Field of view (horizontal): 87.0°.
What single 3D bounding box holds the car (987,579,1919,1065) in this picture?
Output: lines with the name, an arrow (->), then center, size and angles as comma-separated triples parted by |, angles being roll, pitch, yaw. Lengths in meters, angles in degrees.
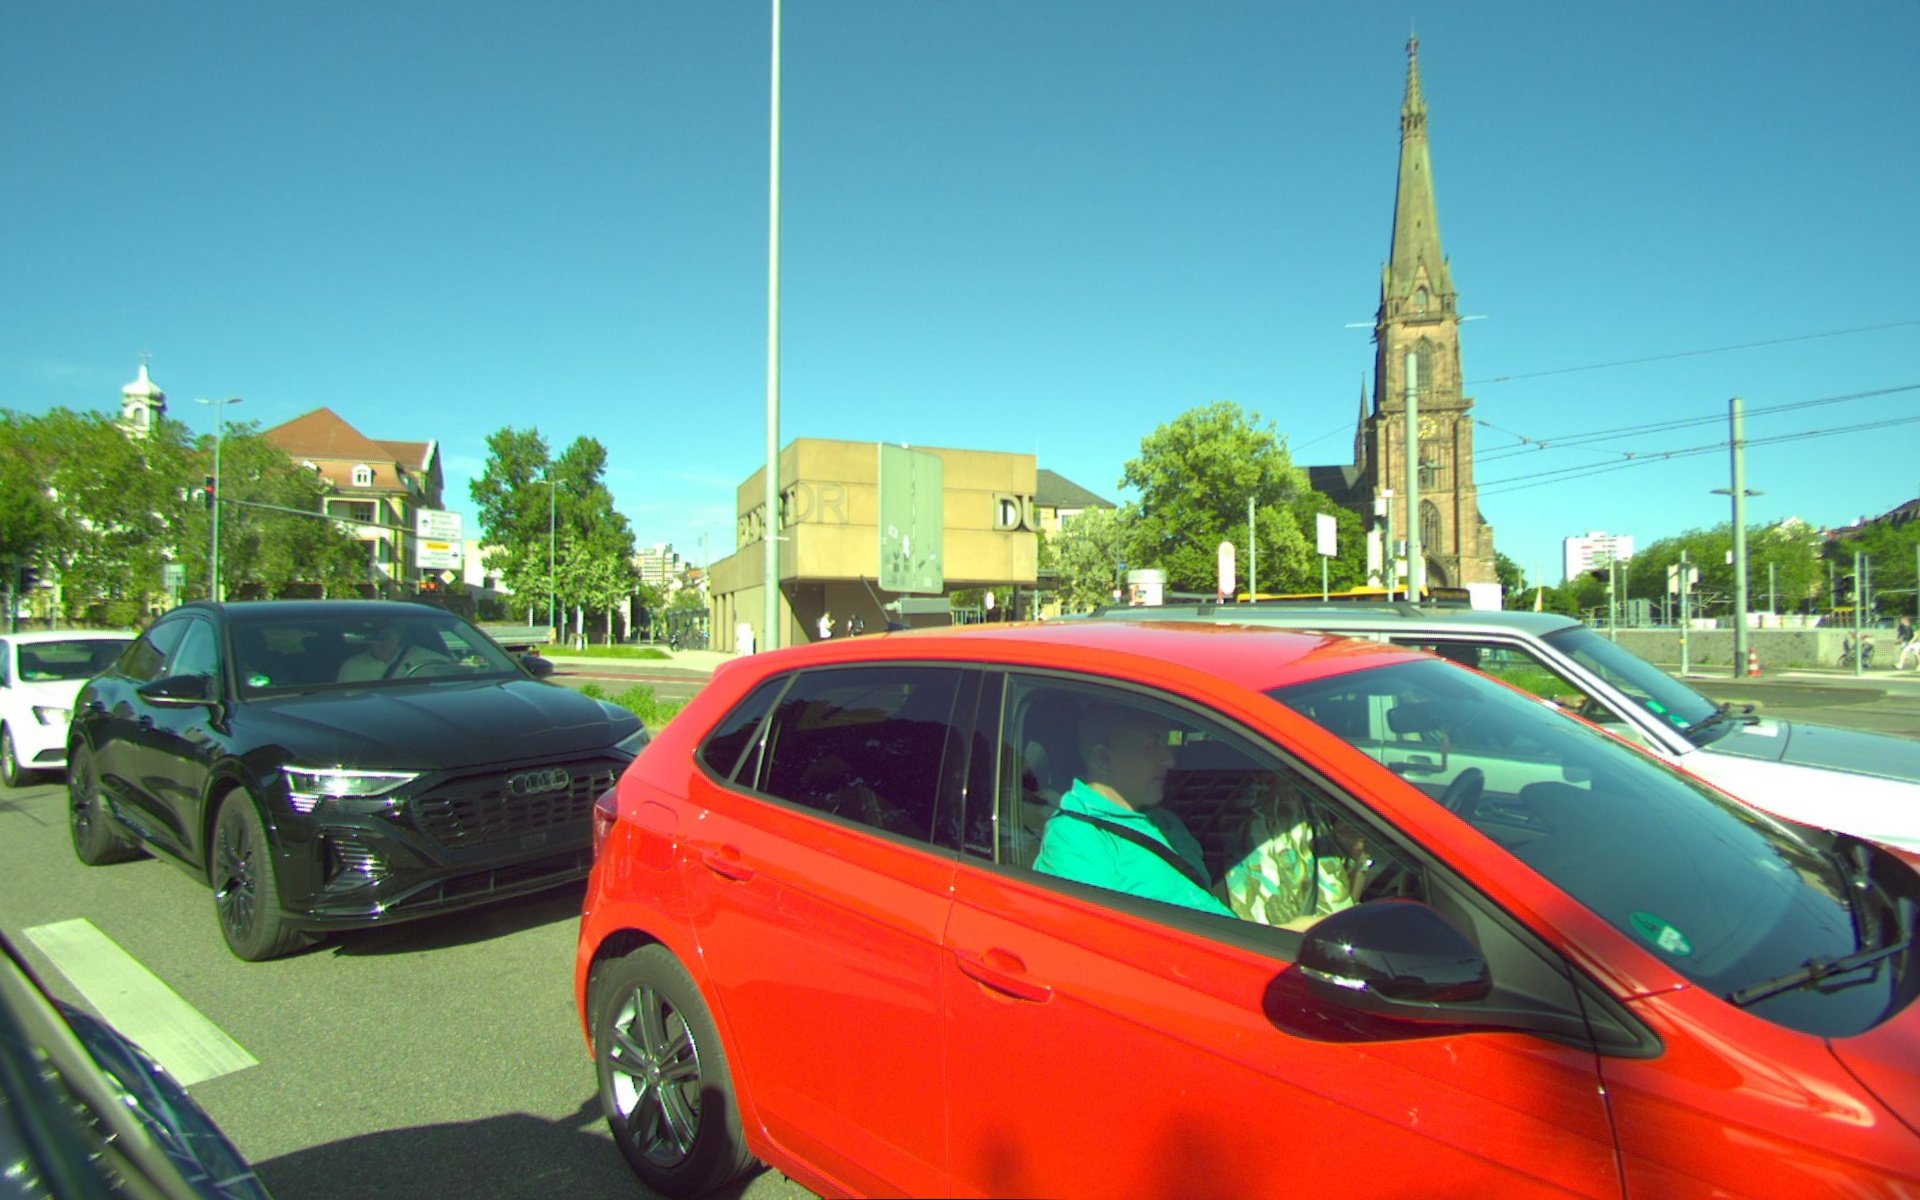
car -> 2.489, 0.714, 4.609 | 4.749, 1.484, 1.691 | -2, -2, 41

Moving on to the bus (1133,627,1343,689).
bus -> 6.090, 1.229, 22.390 | 4.176, 1.251, 1.626 | -2, -2, 37

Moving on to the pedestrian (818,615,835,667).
pedestrian -> -4.630, 1.420, 35.137 | 0.460, 1.789, 0.648 | 0, -2, -20

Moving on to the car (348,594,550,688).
car -> -14.066, 1.098, 27.727 | 6.194, 2.331, 2.094 | -1, -1, 32

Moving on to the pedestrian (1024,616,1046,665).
pedestrian -> 2.752, 1.475, 37.291 | 0.634, 1.789, 0.470 | 0, -2, -28

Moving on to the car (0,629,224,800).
car -> -9.268, 1.051, 10.534 | 3.706, 1.429, 1.556 | -2, 0, 37

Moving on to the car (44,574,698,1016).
car -> -3.637, 0.784, 5.875 | 4.448, 1.628, 1.835 | -2, -2, 39

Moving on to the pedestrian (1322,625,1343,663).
pedestrian -> 15.005, 1.768, 40.798 | 0.561, 1.525, 0.530 | -1, 0, -21

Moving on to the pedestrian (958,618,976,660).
pedestrian -> 0.299, 1.655, 42.958 | 0.468, 1.789, 0.637 | -2, -2, 37

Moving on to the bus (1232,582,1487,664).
bus -> 16.783, 1.065, 44.157 | 2.715, 3.088, 12.200 | 1, -2, -21

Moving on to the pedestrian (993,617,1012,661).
pedestrian -> 1.753, 1.584, 41.552 | 0.468, 1.789, 0.637 | -2, -2, 37

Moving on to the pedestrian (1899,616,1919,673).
pedestrian -> 31.779, 1.474, 33.562 | 0.882, 1.869, 0.679 | -2, -3, 42

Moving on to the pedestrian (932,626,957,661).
pedestrian -> -0.601, 1.695, 39.521 | 0.635, 1.320, 0.764 | 1, -2, -39

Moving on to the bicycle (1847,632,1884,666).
bicycle -> 31.496, 1.690, 35.207 | 1.232, 1.182, 0.471 | 1, -2, -24

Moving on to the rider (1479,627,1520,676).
rider -> 16.375, 1.555, 30.712 | 0.659, 1.475, 0.863 | 1, -2, -32

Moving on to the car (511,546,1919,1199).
car -> 0.803, 0.706, 2.149 | 3.849, 1.484, 1.653 | -2, -1, 39

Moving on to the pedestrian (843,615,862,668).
pedestrian -> -3.702, 1.425, 34.675 | 0.636, 1.789, 0.618 | 0, -2, -6
